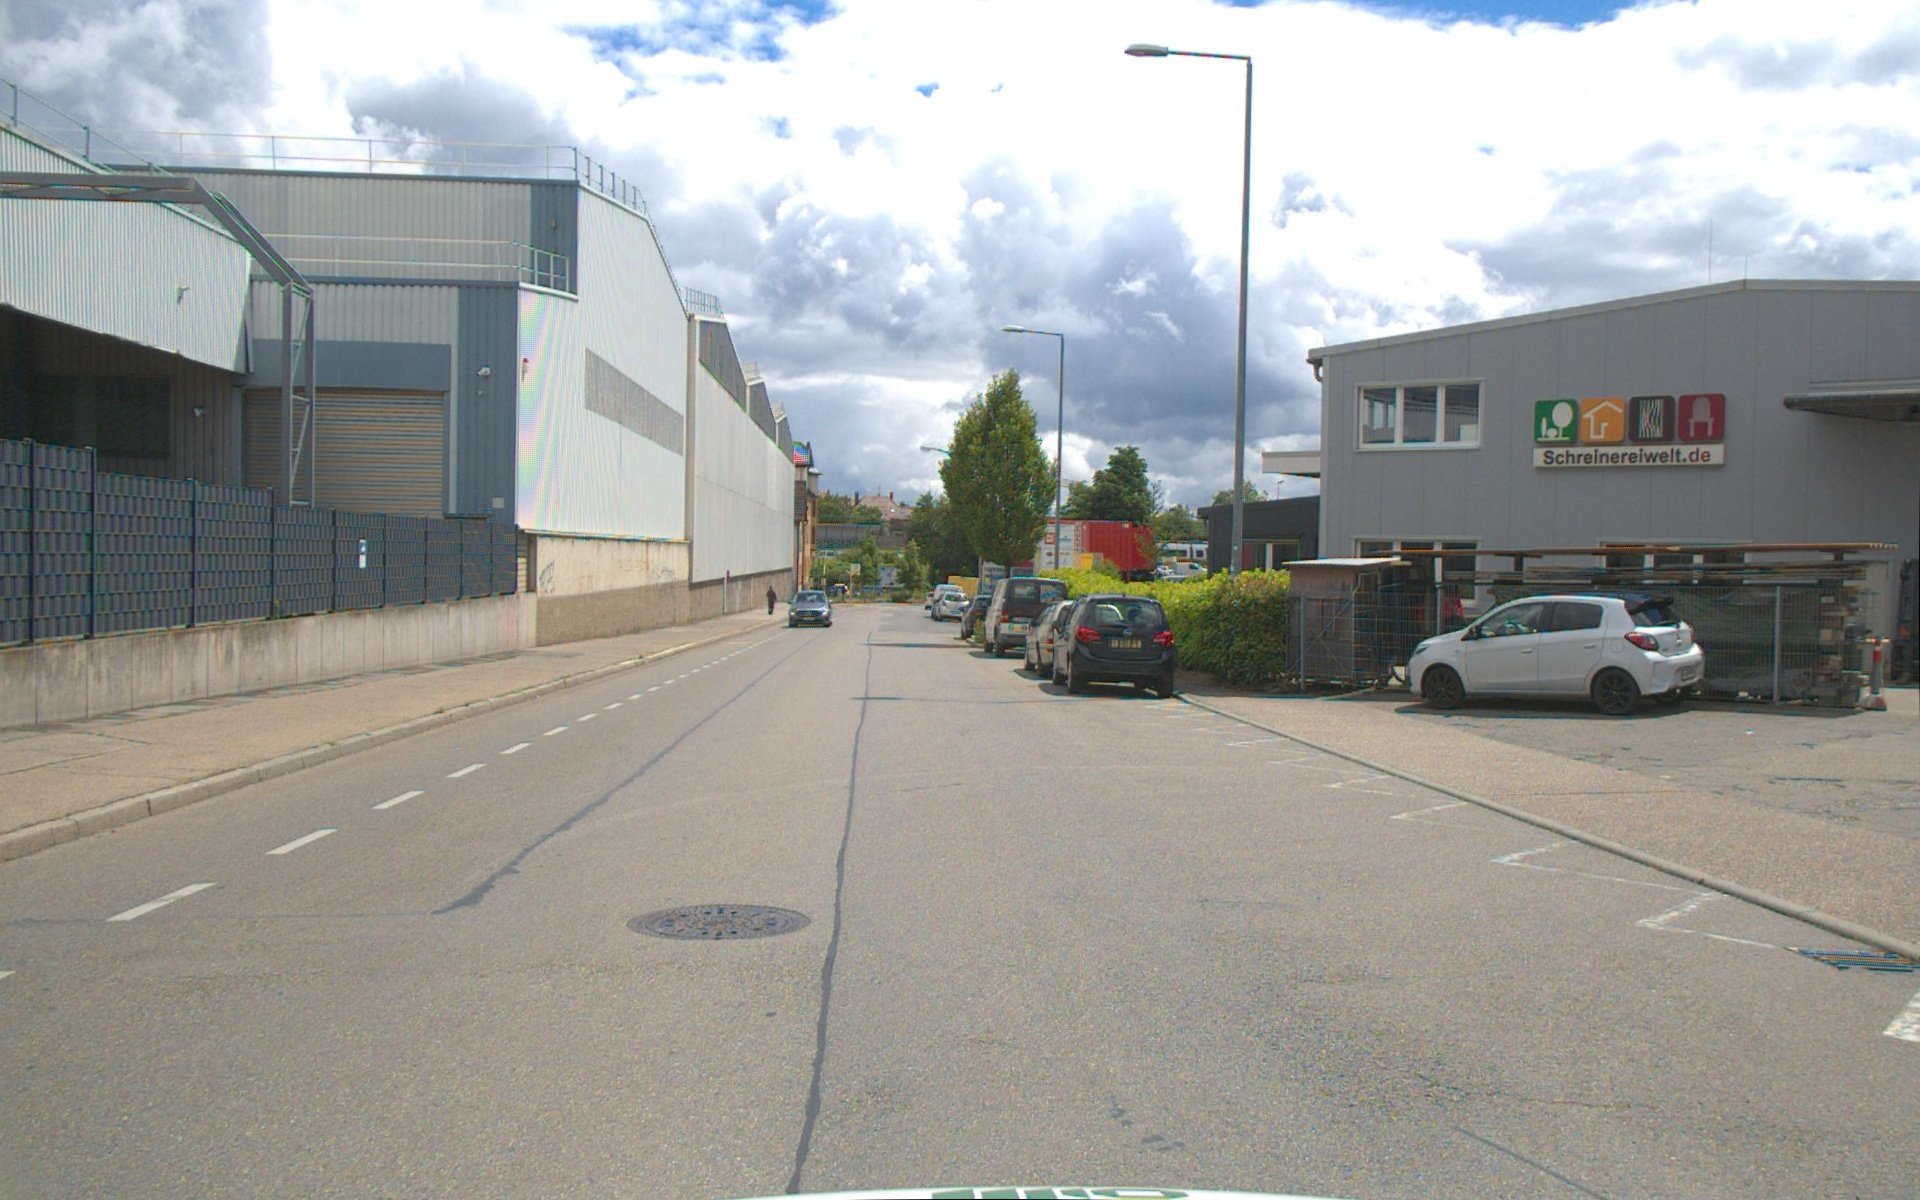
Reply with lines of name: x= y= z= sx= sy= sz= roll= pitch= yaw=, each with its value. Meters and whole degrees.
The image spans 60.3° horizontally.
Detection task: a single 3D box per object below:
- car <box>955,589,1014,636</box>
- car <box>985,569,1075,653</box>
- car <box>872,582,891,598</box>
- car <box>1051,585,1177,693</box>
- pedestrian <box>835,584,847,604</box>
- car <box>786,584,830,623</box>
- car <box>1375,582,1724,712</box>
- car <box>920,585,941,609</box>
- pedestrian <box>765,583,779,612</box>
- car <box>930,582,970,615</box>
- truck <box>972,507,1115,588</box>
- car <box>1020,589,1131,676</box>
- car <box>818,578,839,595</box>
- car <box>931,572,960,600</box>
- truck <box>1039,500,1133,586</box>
car: x=0.795 y=0.412 z=56.507 sx=1.680 sy=1.499 sz=4.508 roll=1 pitch=0 yaw=-3
car: x=1.743 y=0.237 z=42.858 sx=1.832 sy=2.025 sz=5.141 roll=1 pitch=0 yaw=-3
car: x=-7.835 y=-0.974 z=164.753 sx=1.816 sy=1.512 sz=3.997 roll=1 pitch=-1 yaw=-3
car: x=2.535 y=0.600 z=28.042 sx=1.645 sy=1.666 sz=4.122 roll=1 pitch=0 yaw=-1
pedestrian: x=-9.835 y=-0.493 z=136.879 sx=0.835 sy=1.692 sz=0.860 roll=1 pitch=-1 yaw=2
car: x=-6.569 y=0.160 z=71.742 sx=1.685 sy=1.583 sz=4.285 roll=-2 pitch=0 yaw=-3
car: x=7.696 y=0.584 z=21.856 sx=1.710 sy=1.488 sz=4.014 roll=-3 pitch=1 yaw=-41
car: x=-2.402 y=-0.228 z=132.118 sx=1.536 sy=1.817 sz=3.603 roll=1 pitch=-1 yaw=-3
pedestrian: x=-10.762 y=-0.134 z=94.666 sx=0.698 sy=1.666 sz=0.777 roll=1 pitch=-1 yaw=-1
car: x=-0.552 y=-0.091 z=86.894 sx=1.669 sy=1.554 sz=3.733 roll=4 pitch=1 yaw=-7
truck: x=5.110 y=-3.169 z=101.088 sx=8.273 sy=4.752 sz=2.583 roll=1 pitch=-1 yaw=18
car: x=2.219 y=0.590 z=32.951 sx=1.622 sy=1.567 sz=4.731 roll=1 pitch=0 yaw=-3
car: x=-12.171 y=-1.240 z=153.380 sx=1.816 sy=1.512 sz=3.997 roll=1 pitch=-1 yaw=-3
car: x=-0.885 y=-0.844 z=97.714 sx=1.667 sy=1.554 sz=3.737 roll=1 pitch=1 yaw=-1
truck: x=7.095 y=-3.145 z=94.392 sx=2.534 sy=4.527 sz=7.823 roll=1 pitch=-1 yaw=-18
